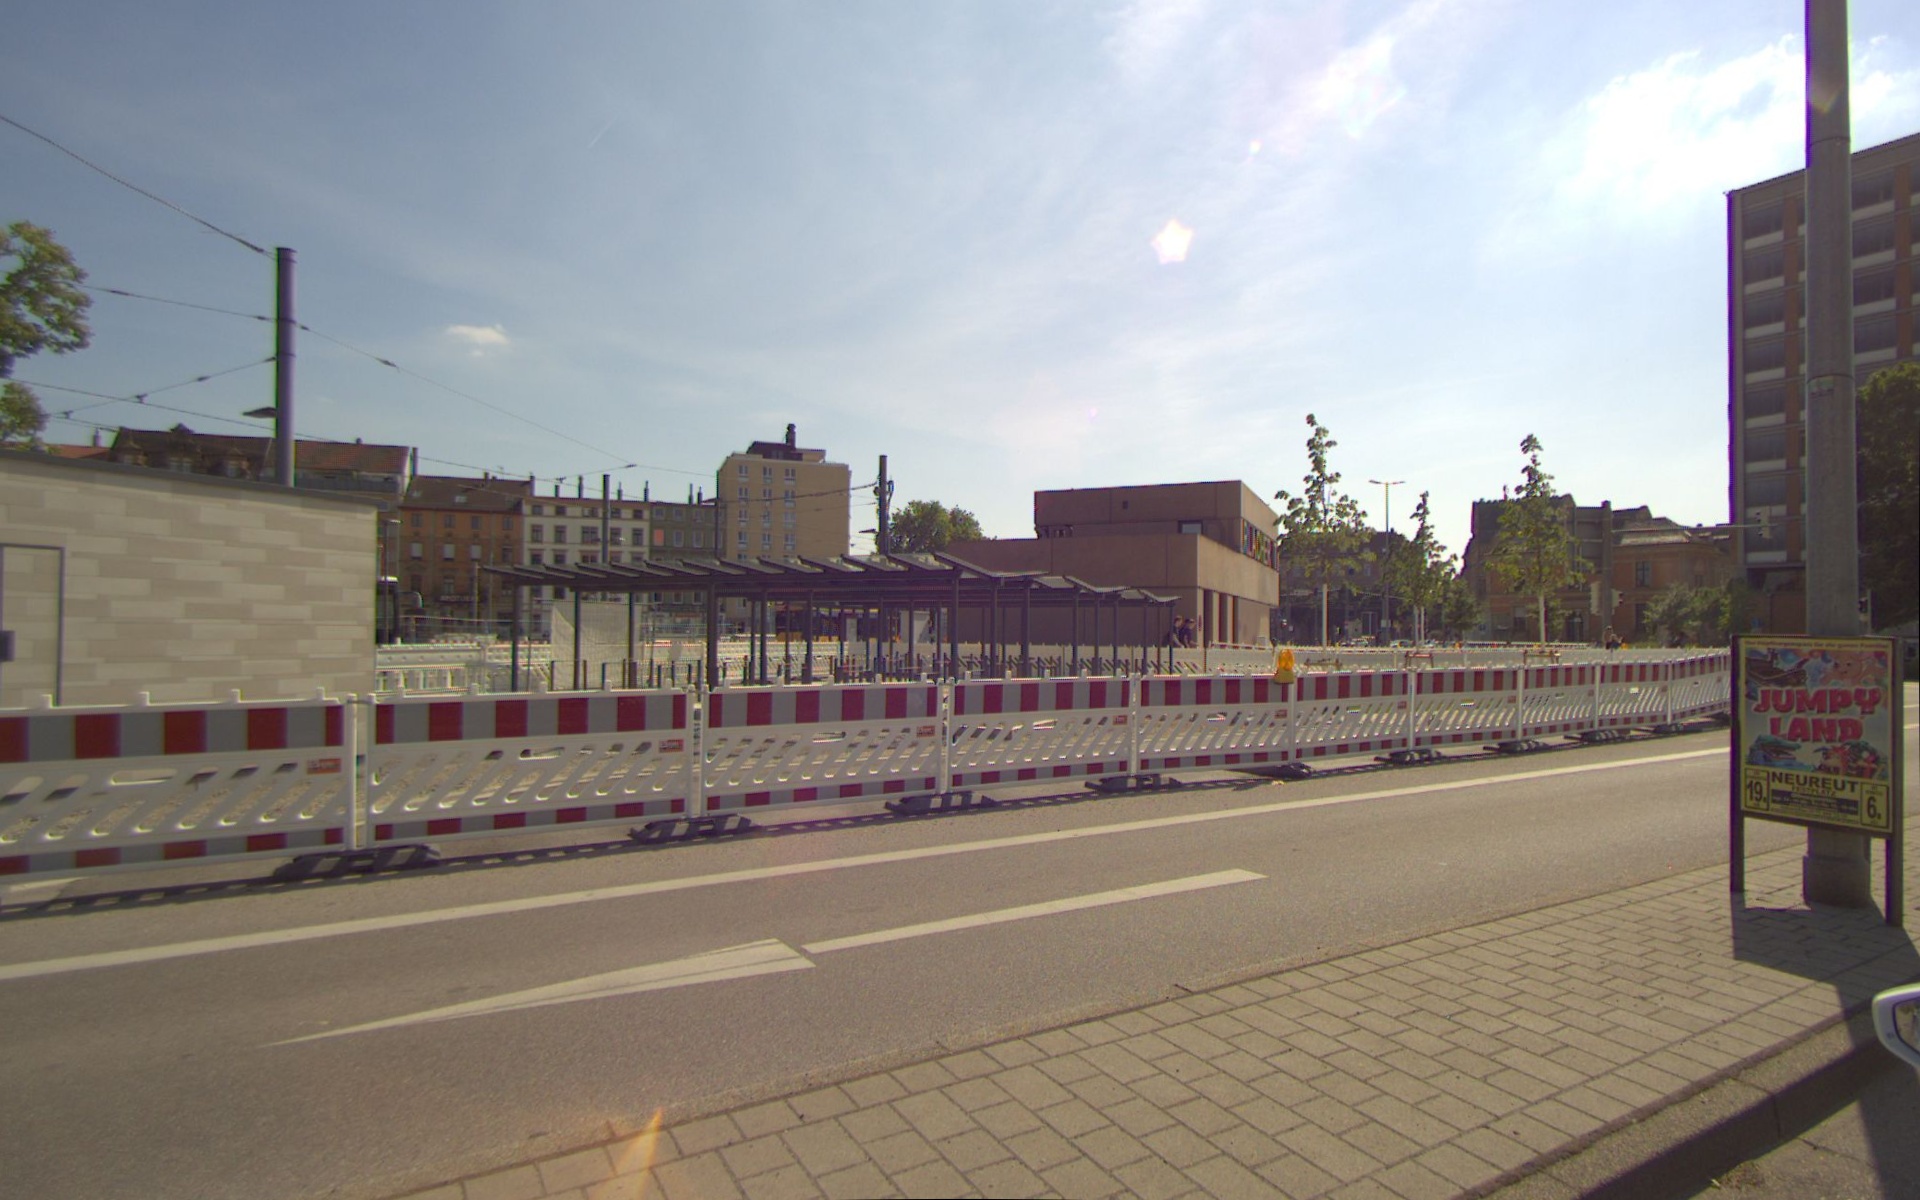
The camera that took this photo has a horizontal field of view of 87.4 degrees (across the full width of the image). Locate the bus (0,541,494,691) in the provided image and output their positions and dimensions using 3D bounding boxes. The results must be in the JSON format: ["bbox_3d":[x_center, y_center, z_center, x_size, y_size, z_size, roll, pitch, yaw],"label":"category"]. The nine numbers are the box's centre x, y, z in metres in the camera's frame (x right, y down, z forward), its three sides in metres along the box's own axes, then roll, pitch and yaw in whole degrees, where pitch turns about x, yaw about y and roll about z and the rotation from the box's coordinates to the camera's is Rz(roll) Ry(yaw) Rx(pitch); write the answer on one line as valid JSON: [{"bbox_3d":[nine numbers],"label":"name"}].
[{"bbox_3d":[-20.226,0.595,29.976,2.808,3.535,12.651,-1,-2,24],"label":"bus"}]

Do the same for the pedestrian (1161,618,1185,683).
[{"bbox_3d":[6.455,1.528,30.470,0.595,1.940,0.441,0,-2,-10],"label":"pedestrian"}]

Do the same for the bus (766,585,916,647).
[{"bbox_3d":[-6.755,1.078,60.459,2.808,3.324,12.651,0,-2,24],"label":"bus"}]

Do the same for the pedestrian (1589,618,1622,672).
[{"bbox_3d":[21.733,1.517,33.827,0.728,1.775,1.105,-2,-5,43],"label":"pedestrian"}]

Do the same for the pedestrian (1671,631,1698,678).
[{"bbox_3d":[23.908,1.795,33.160,0.624,1.511,0.613,-2,-2,44],"label":"pedestrian"}]

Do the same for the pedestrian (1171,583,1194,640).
[{"bbox_3d":[7.077,0.386,32.004,0.559,1.801,0.544,0,-2,-10],"label":"pedestrian"}]

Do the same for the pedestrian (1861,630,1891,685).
[{"bbox_3d":[34.480,2.152,37.823,0.604,2.040,0.687,2,0,23],"label":"pedestrian"}]

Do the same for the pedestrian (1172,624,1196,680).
[{"bbox_3d":[6.982,1.626,31.276,0.559,1.731,0.539,0,-2,-10],"label":"pedestrian"}]
